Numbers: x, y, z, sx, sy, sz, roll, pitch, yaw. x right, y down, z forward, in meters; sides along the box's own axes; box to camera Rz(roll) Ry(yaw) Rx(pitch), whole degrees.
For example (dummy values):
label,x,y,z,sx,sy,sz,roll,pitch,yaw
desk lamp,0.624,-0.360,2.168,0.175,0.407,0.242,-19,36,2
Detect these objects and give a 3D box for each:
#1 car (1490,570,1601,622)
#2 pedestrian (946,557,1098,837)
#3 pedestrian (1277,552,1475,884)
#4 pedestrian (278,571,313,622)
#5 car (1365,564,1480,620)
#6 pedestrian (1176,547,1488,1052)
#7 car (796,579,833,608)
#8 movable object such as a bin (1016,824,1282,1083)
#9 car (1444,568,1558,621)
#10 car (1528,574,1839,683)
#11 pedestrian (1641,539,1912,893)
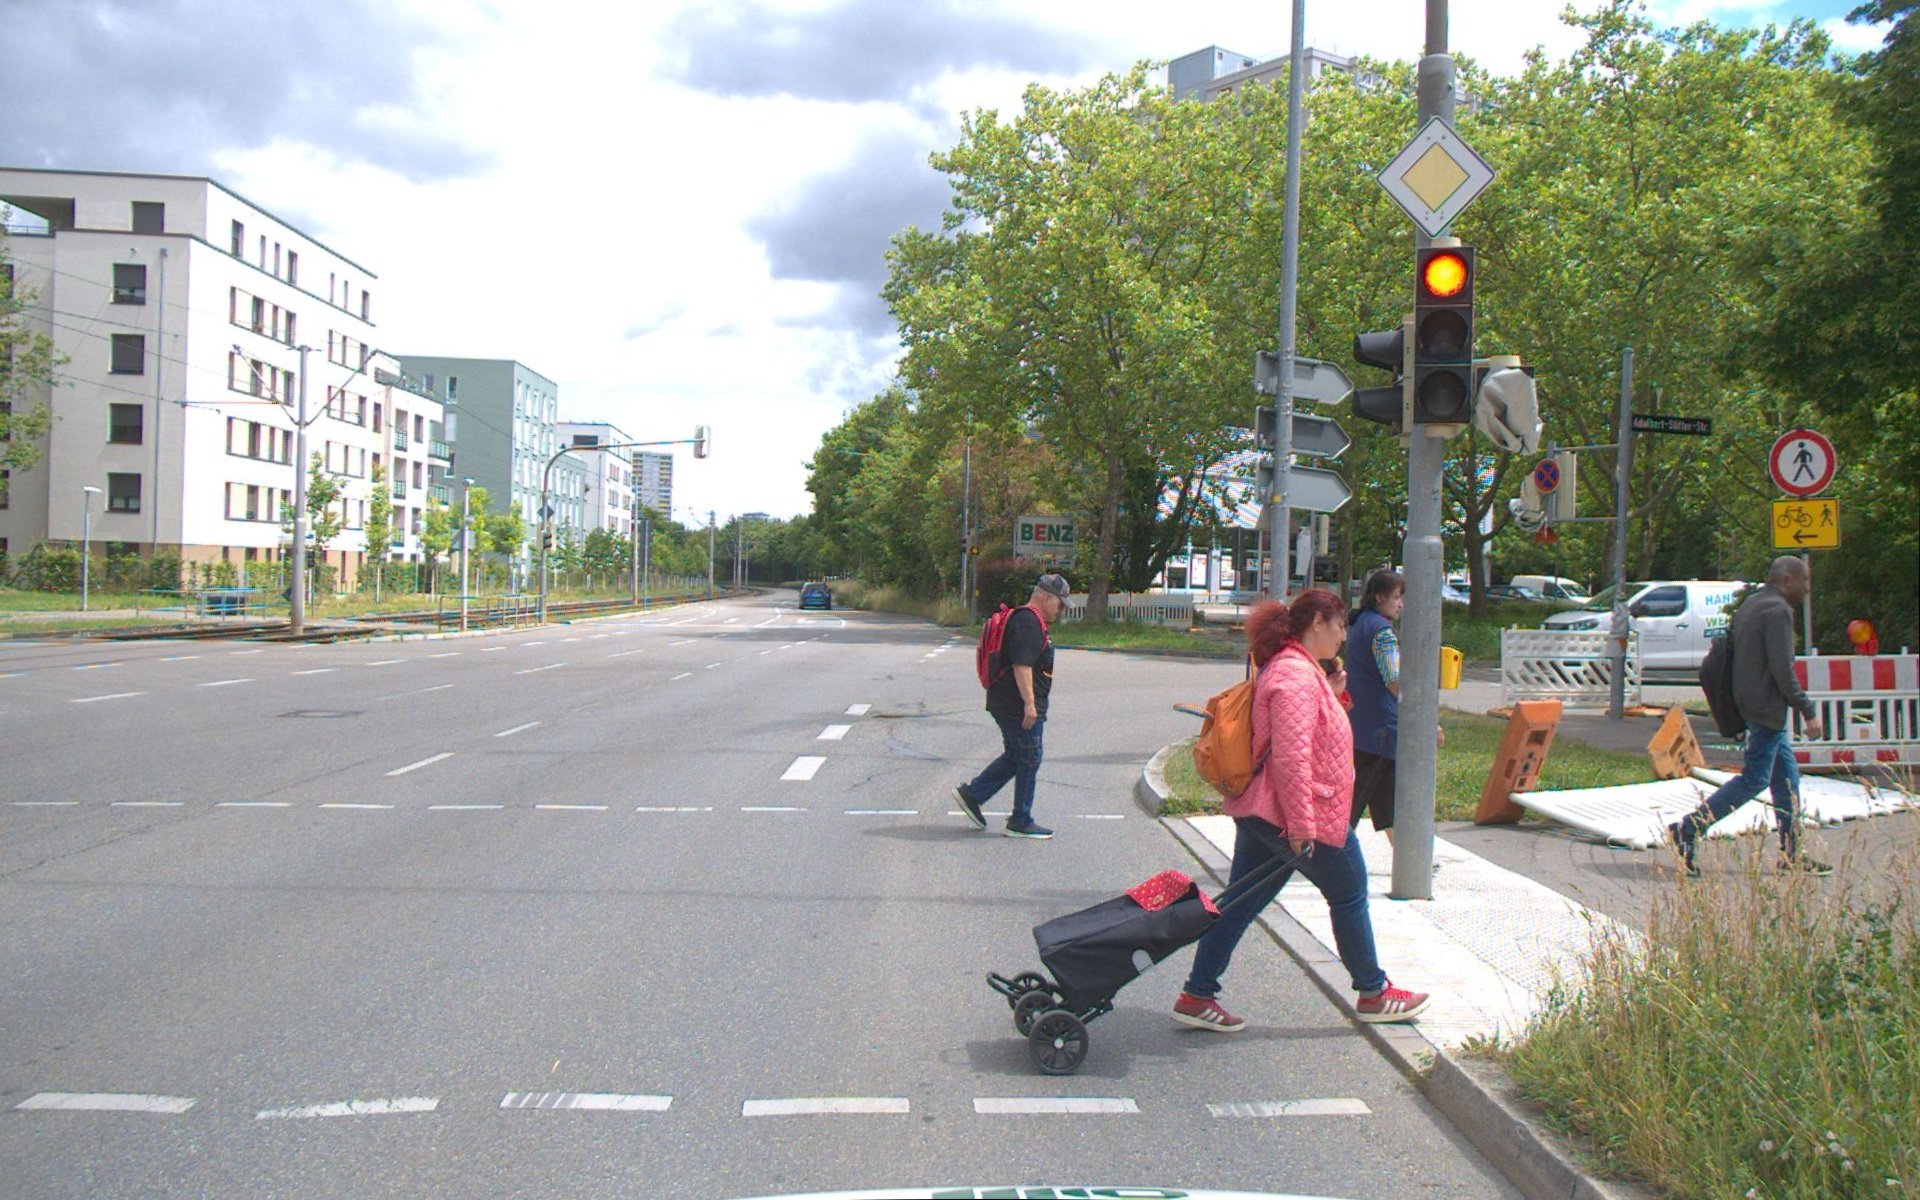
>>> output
label,x,y,z,sx,sy,sz,roll,pitch,yaw
car,23.936,-0.183,67.702,1.974,2.049,3.957,0,1,-32
pedestrian,0.393,0.563,10.147,0.874,1.624,0.908,1,0,4
pedestrian,2.160,0.578,8.716,0.893,1.635,0.930,1,0,8
pedestrian,-20.421,-0.100,50.846,0.814,1.542,0.636,1,0,-1
car,17.525,-0.315,62.832,1.974,2.049,3.957,0,1,-32
pedestrian,1.219,0.625,5.576,0.863,1.582,0.746,1,0,-1
car,-8.081,-0.363,91.573,1.944,1.512,4.485,1,1,-6
movable object such as a bin,0.592,1.138,5.456,0.779,0.673,0.778,1,0,-1
car,21.369,-0.235,65.466,1.974,2.049,3.957,0,1,-32
car,13.432,0.503,30.865,4.976,1.906,1.947,1,0,-5
pedestrian,4.374,0.589,8.933,0.982,1.804,0.929,1,0,-1
